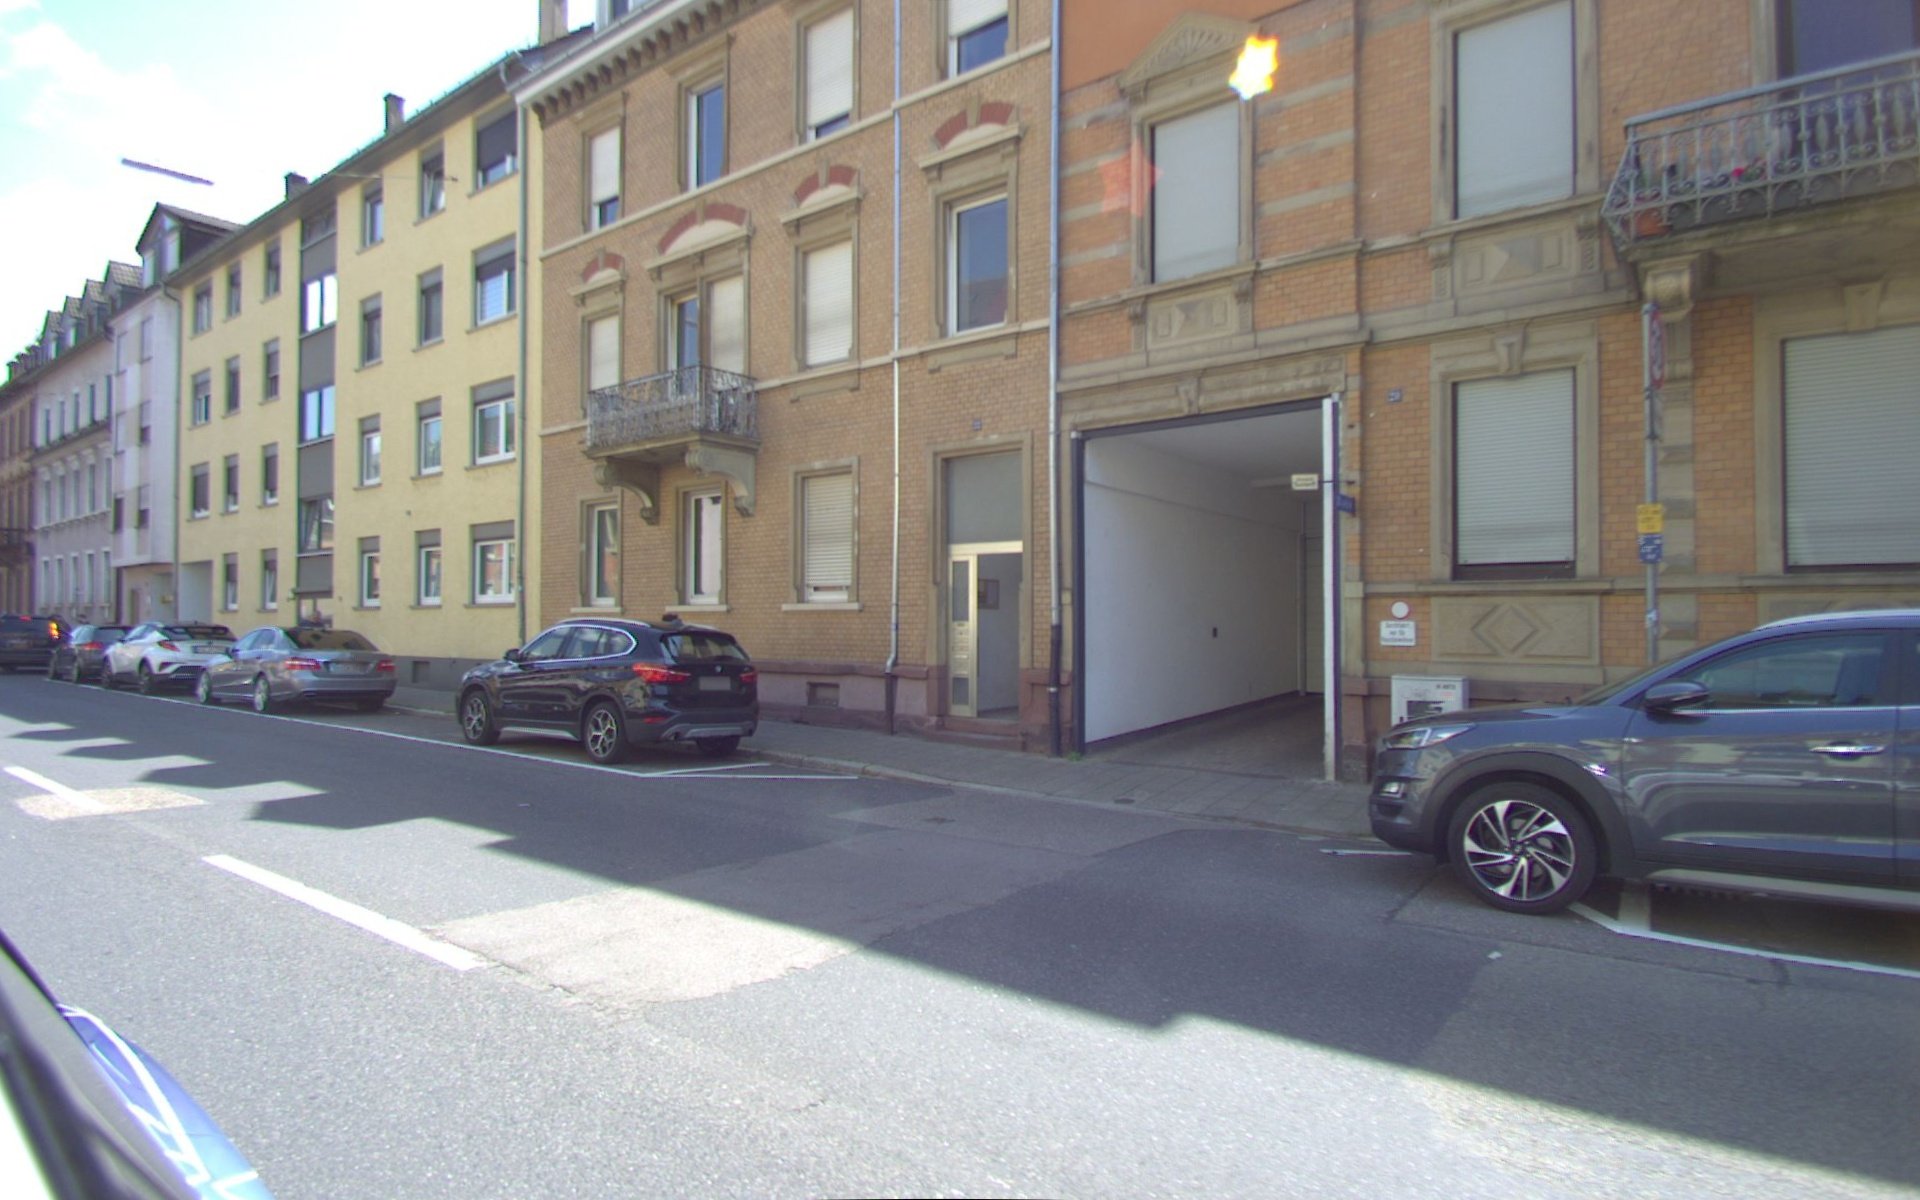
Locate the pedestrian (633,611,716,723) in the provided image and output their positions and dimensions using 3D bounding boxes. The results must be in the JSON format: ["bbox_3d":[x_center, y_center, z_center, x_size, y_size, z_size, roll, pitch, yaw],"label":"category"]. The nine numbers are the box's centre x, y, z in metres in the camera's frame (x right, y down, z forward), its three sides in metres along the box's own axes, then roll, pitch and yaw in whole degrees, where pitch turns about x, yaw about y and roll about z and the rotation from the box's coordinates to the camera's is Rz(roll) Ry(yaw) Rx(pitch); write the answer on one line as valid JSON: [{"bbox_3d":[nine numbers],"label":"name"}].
[{"bbox_3d":[-4.130,0.943,14.641,0.875,1.546,0.794,-1,-2,42],"label":"pedestrian"}]

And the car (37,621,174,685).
[{"bbox_3d":[-20.946,1.281,24.763,3.910,1.422,1.728,-1,-5,38],"label":"car"}]

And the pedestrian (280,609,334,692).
[{"bbox_3d":[-14.278,1.096,22.136,0.793,1.769,0.876,2,-2,-45],"label":"pedestrian"}]

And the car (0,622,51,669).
[{"bbox_3d":[-31.026,1.436,32.673,4.279,1.422,1.728,-1,-5,38],"label":"car"}]

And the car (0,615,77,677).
[{"bbox_3d":[-26.276,1.287,28.513,1.722,1.600,3.961,5,-5,-37],"label":"car"}]

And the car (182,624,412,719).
[{"bbox_3d":[-11.764,1.212,17.845,4.679,1.463,1.887,-1,-5,38],"label":"car"}]

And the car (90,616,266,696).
[{"bbox_3d":[-16.889,1.186,21.800,4.306,1.563,1.847,-1,-5,37],"label":"car"}]

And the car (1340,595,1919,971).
[{"bbox_3d":[4.568,0.873,5.331,4.491,1.640,1.848,-1,-5,36],"label":"car"}]

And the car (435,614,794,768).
[{"bbox_3d":[-4.321,1.022,12.385,4.491,1.563,1.848,-1,-5,36],"label":"car"}]

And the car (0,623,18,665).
[{"bbox_3d":[-35.331,1.500,35.941,4.502,1.422,1.729,-1,-5,35],"label":"car"}]
